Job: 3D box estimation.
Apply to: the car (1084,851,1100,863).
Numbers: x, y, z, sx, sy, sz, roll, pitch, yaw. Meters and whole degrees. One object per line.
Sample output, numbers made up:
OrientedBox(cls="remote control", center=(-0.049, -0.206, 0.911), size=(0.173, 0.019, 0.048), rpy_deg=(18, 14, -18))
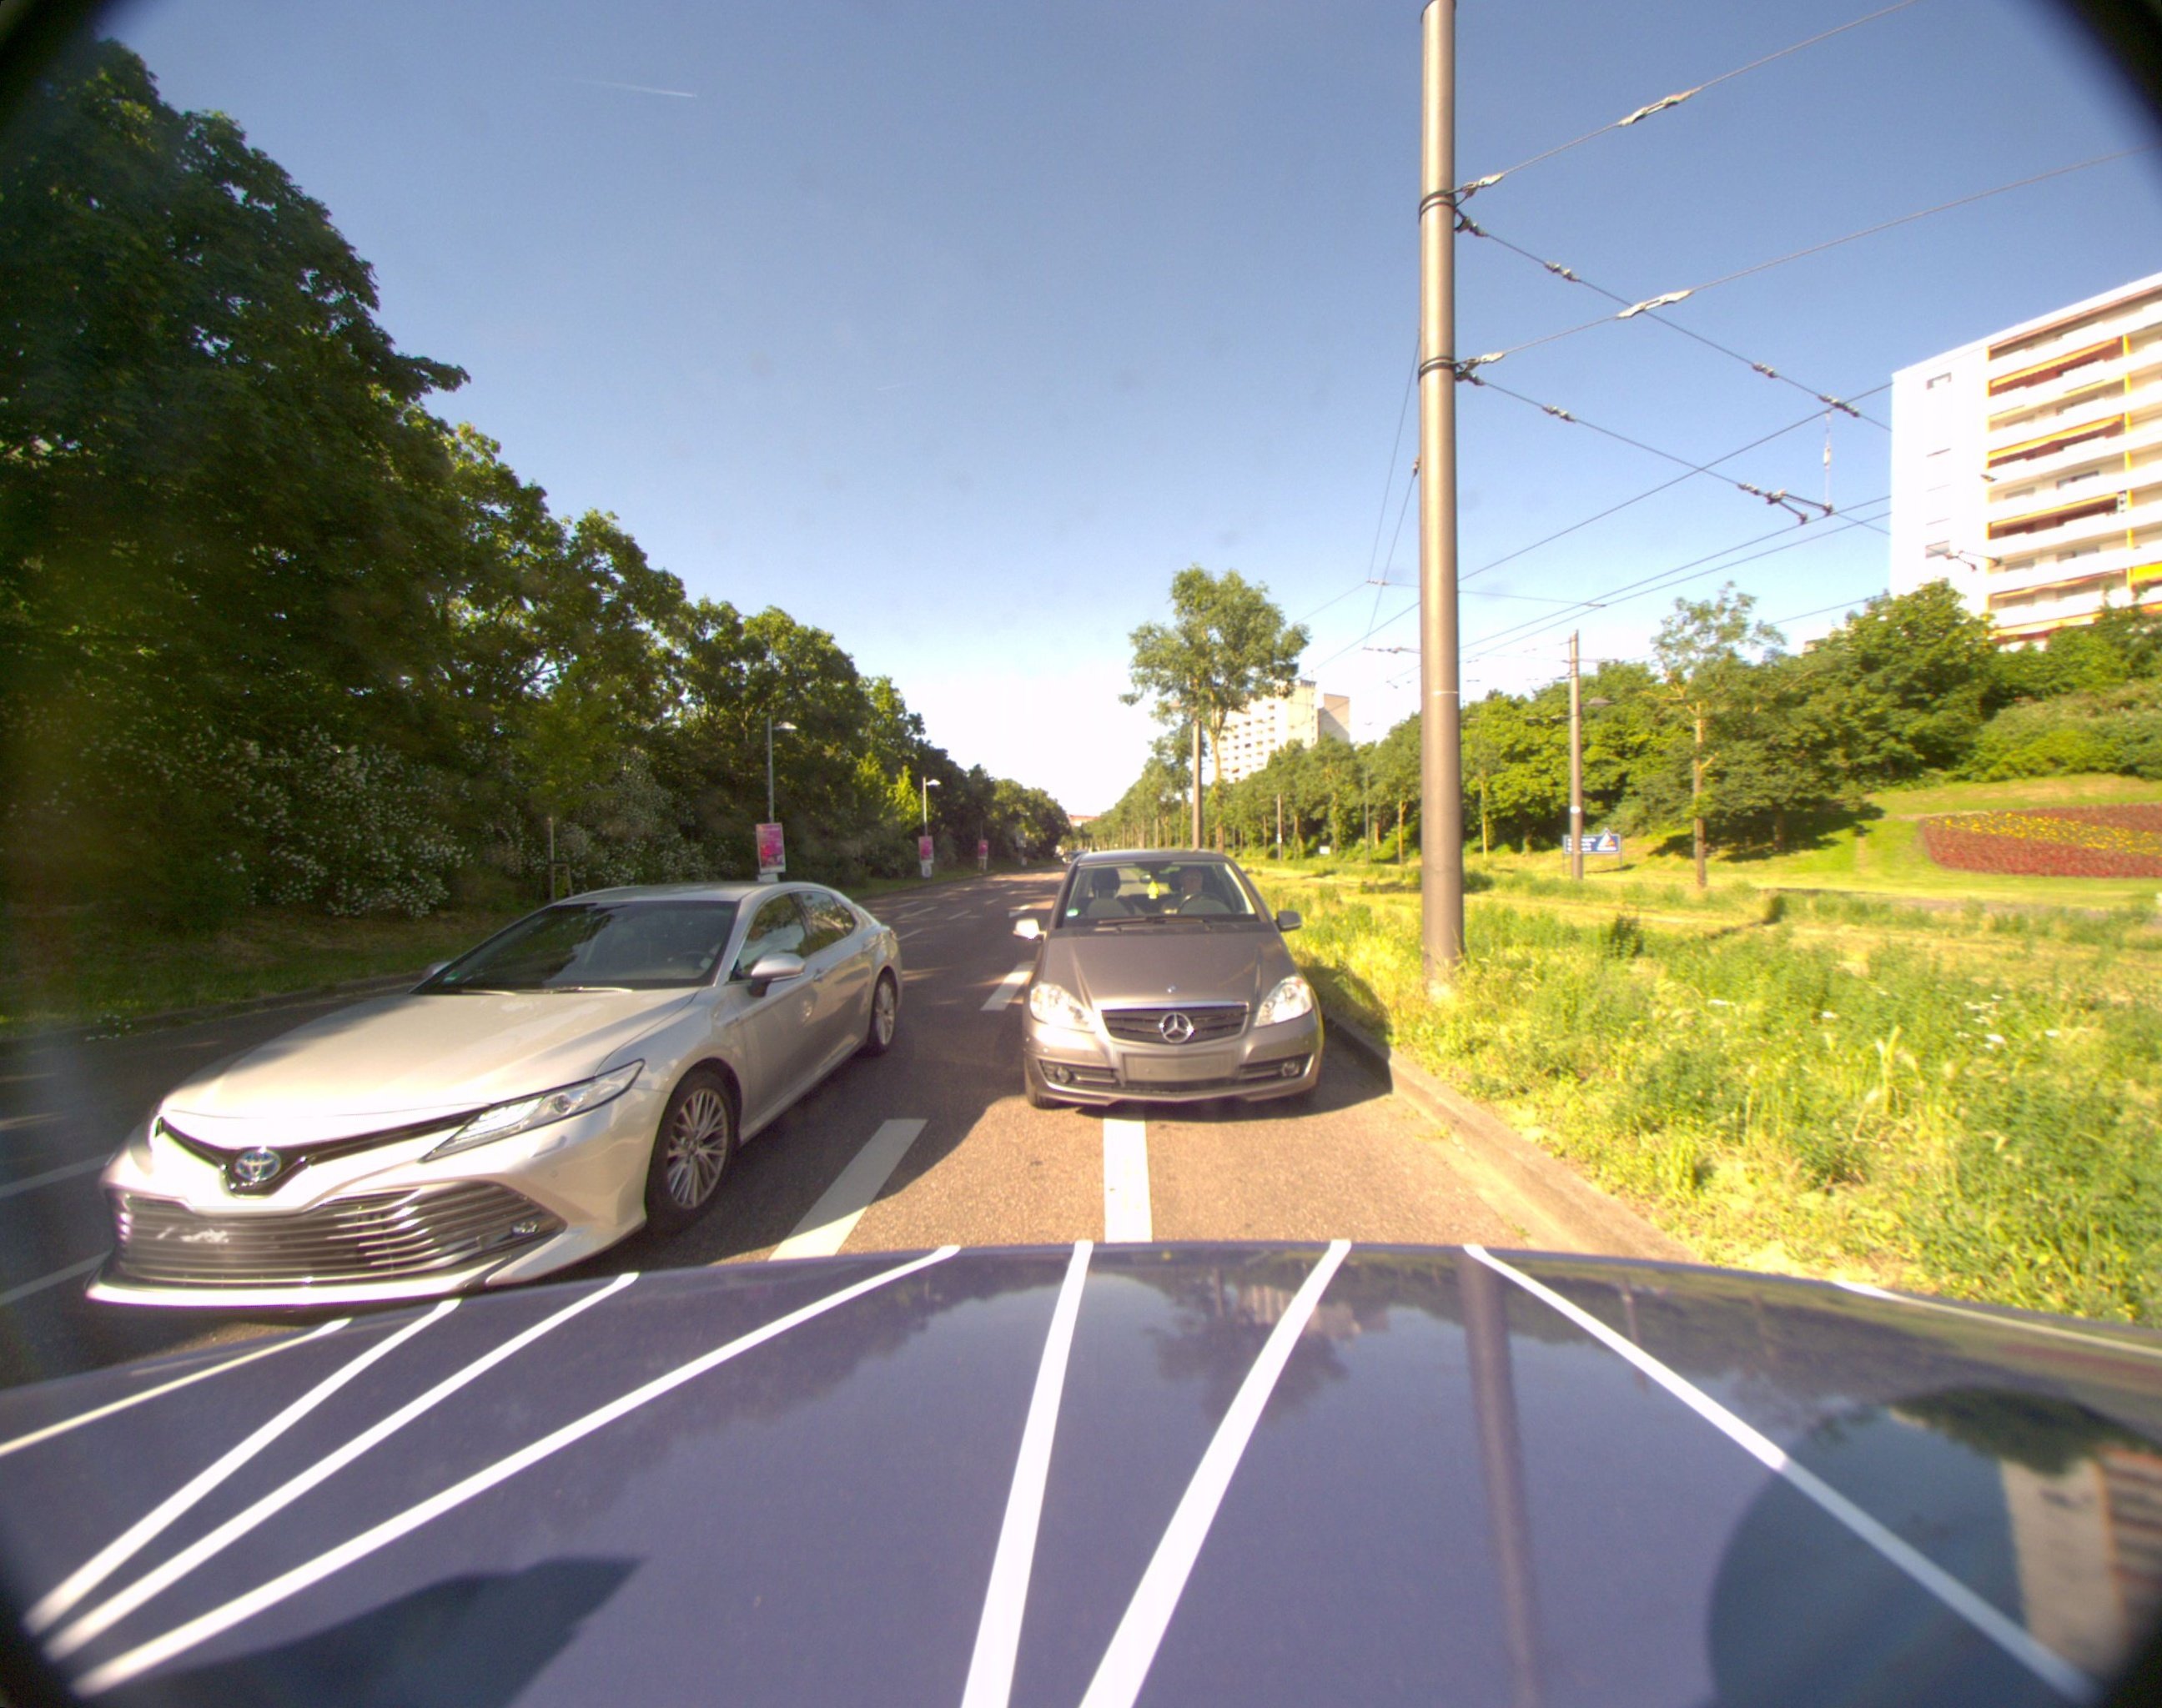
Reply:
OrientedBox(cls="car", center=(1.281, 0.314, 87.519), size=(1.776, 1.395, 4.067), rpy_deg=(-1, 0, 2))

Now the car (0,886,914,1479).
OrientedBox(cls="car", center=(-2.633, 1.043, 4.536), size=(2.069, 1.451, 4.749), rpy_deg=(-1, 0, 2))

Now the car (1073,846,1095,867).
OrientedBox(cls="car", center=(0.321, 0.223, 69.933), size=(1.822, 1.893, 4.622), rpy_deg=(-1, 0, 2))

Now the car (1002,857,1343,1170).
OrientedBox(cls="car", center=(0.514, 0.853, 6.201), size=(1.777, 1.597, 4.384), rpy_deg=(-1, 0, 1))

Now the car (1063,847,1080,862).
OrientedBox(cls="car", center=(-1.268, 0.048, 100.449), size=(1.998, 1.882, 5.148), rpy_deg=(-1, 0, 1))

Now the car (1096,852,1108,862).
OrientedBox(cls="car", center=(3.165, 0.489, 115.352), size=(1.776, 1.395, 4.067), rpy_deg=(-1, 0, 2))
